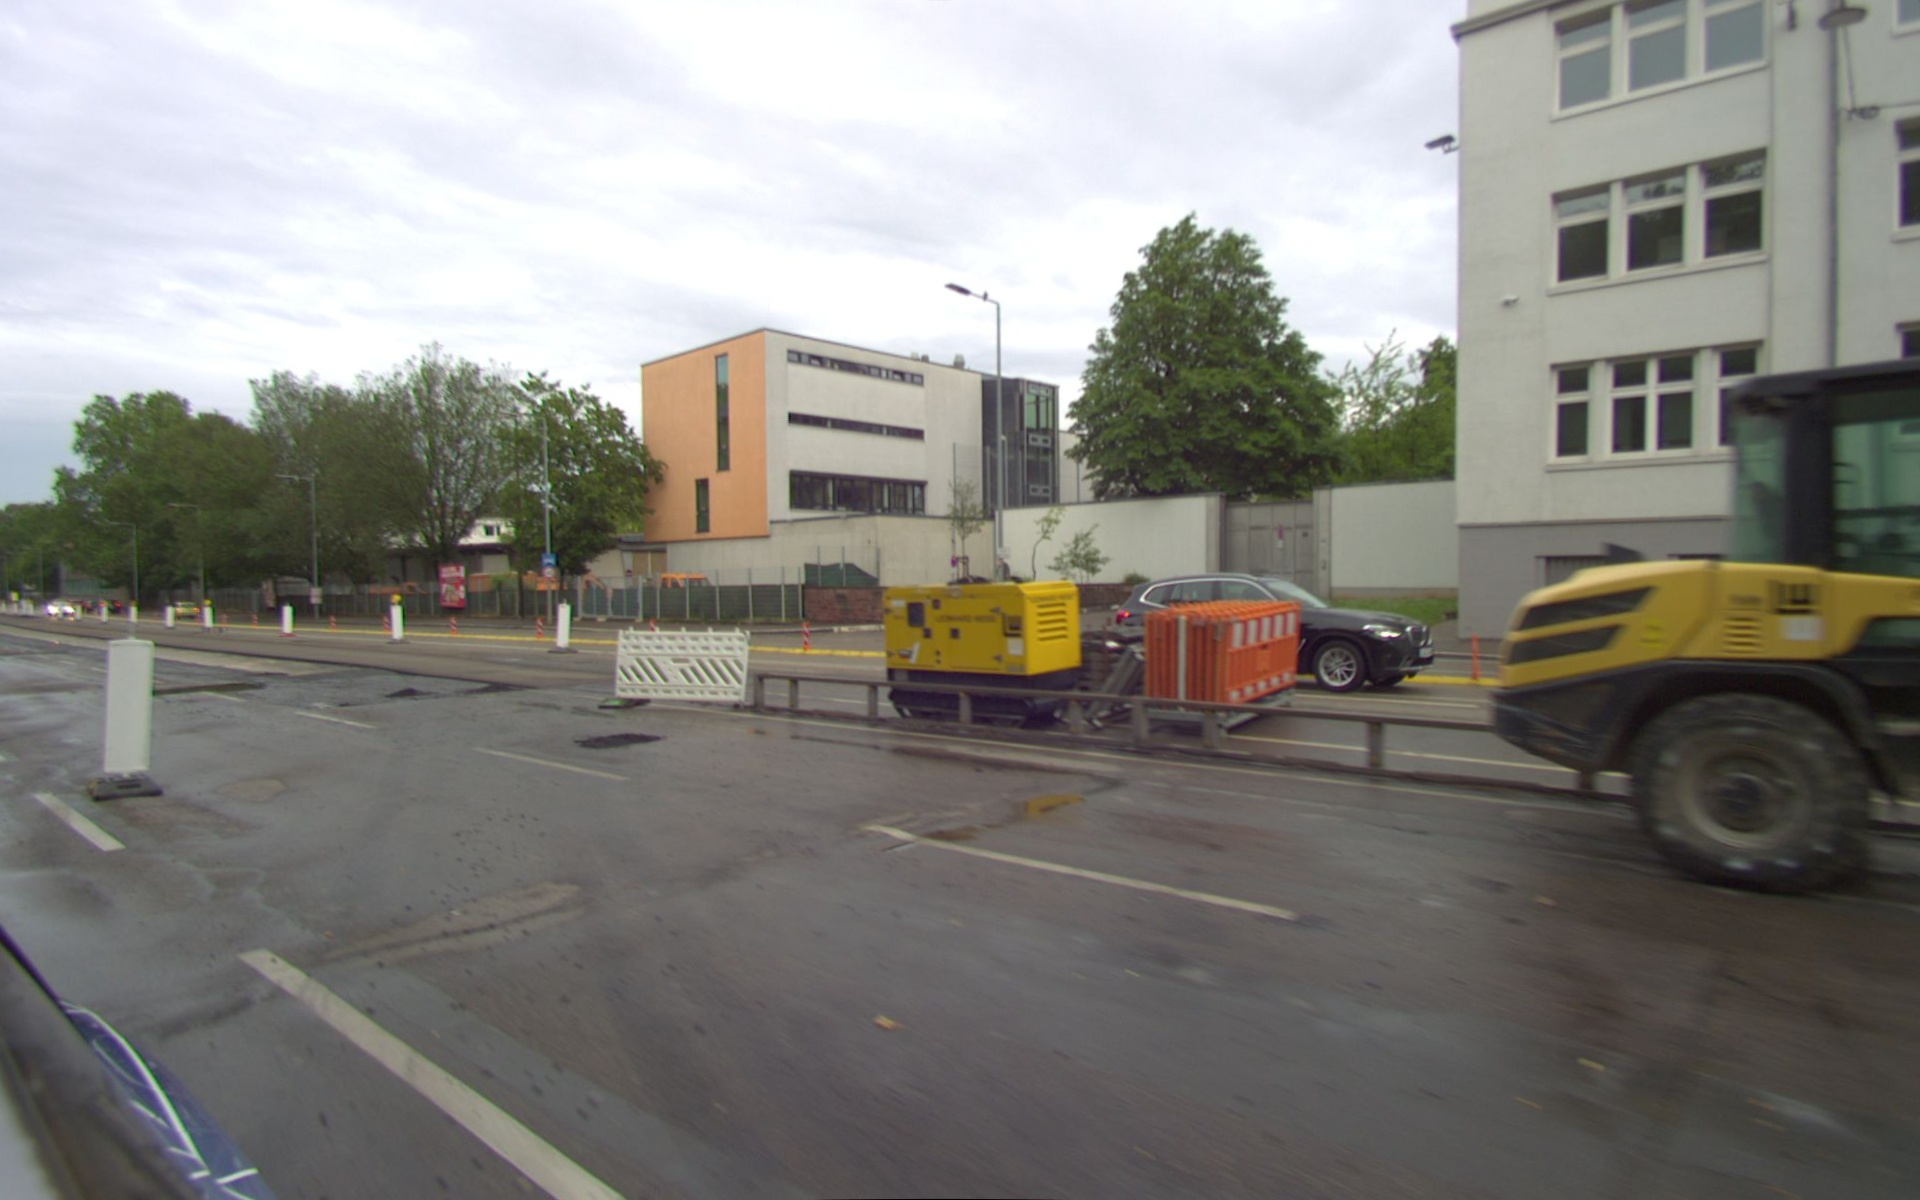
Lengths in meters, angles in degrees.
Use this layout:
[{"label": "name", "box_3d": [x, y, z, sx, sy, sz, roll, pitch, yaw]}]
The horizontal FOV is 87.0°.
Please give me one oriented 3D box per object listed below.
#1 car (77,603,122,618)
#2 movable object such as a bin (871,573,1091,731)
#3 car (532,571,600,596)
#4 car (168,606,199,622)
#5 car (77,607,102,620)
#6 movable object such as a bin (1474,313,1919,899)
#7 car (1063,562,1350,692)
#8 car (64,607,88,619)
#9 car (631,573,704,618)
[{"label": "car", "box_3d": [-97.947, 1.208, 115.197, 4.289, 1.642, 1.856, 0, 0, 15]}, {"label": "movable object such as a bin", "box_3d": [0.205, 0.548, 11.876, 2.438, 1.657, 1.072, -1, 1, 41]}, {"label": "car", "box_3d": [-26.630, -1.121, 68.453, 3.958, 1.539, 2.004, -2, 1, -10]}, {"label": "car", "box_3d": [-68.534, 1.217, 89.304, 3.803, 1.378, 1.537, 0, 0, 42]}, {"label": "car", "box_3d": [-105.890, 1.620, 123.073, 3.731, 1.487, 1.839, 0, -1, 42]}, {"label": "movable object such as a bin", "box_3d": [5.565, 0.001, 4.669, 5.381, 2.629, 1.882, -1, 0, 42]}, {"label": "car", "box_3d": [3.734, 0.339, 16.469, 1.965, 1.718, 5.000, -3, 1, -22]}, {"label": "car", "box_3d": [-116.951, 1.685, 133.883, 4.364, 1.631, 1.839, 0, -1, 43]}, {"label": "car", "box_3d": [-14.789, -0.231, 51.113, 3.998, 2.186, 1.593, -1, 1, 41]}]
